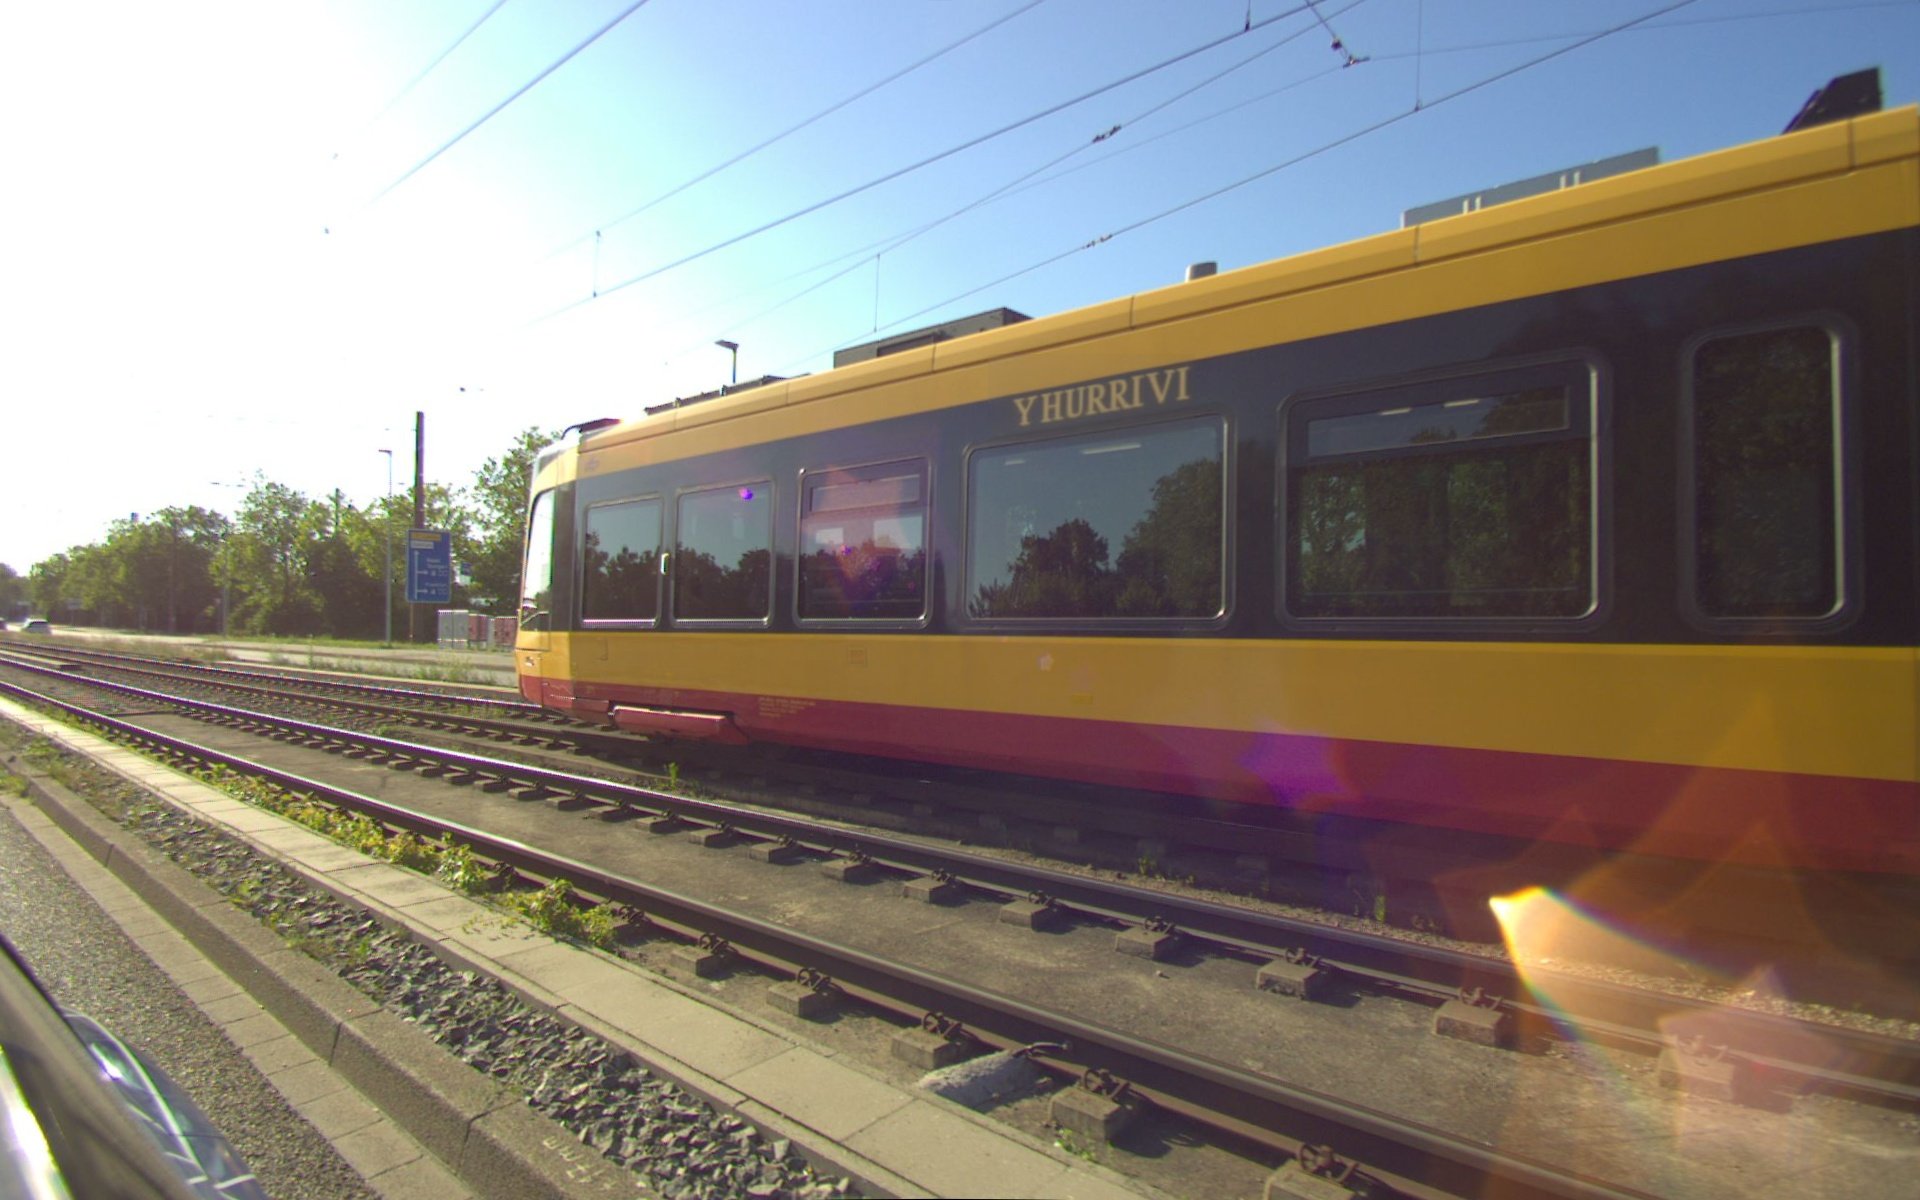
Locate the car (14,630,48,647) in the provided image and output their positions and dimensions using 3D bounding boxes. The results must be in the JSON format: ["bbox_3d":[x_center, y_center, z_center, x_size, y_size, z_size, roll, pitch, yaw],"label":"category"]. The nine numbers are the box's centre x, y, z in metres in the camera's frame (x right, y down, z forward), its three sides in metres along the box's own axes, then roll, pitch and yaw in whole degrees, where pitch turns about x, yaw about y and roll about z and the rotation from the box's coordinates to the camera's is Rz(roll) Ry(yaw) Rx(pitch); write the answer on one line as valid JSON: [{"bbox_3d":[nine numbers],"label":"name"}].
[{"bbox_3d":[-81.766,3.355,89.092,3.998,1.363,1.778,-1,0,41],"label":"car"}]

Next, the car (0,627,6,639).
[{"bbox_3d":[-115.353,3.922,120.750,3.998,1.363,1.778,-1,0,41],"label":"car"}]

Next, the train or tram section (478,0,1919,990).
[{"bbox_3d":[0.181,-0.432,8.663,13.076,3.930,2.972,-1,-2,42],"label":"train or tram section"}]
